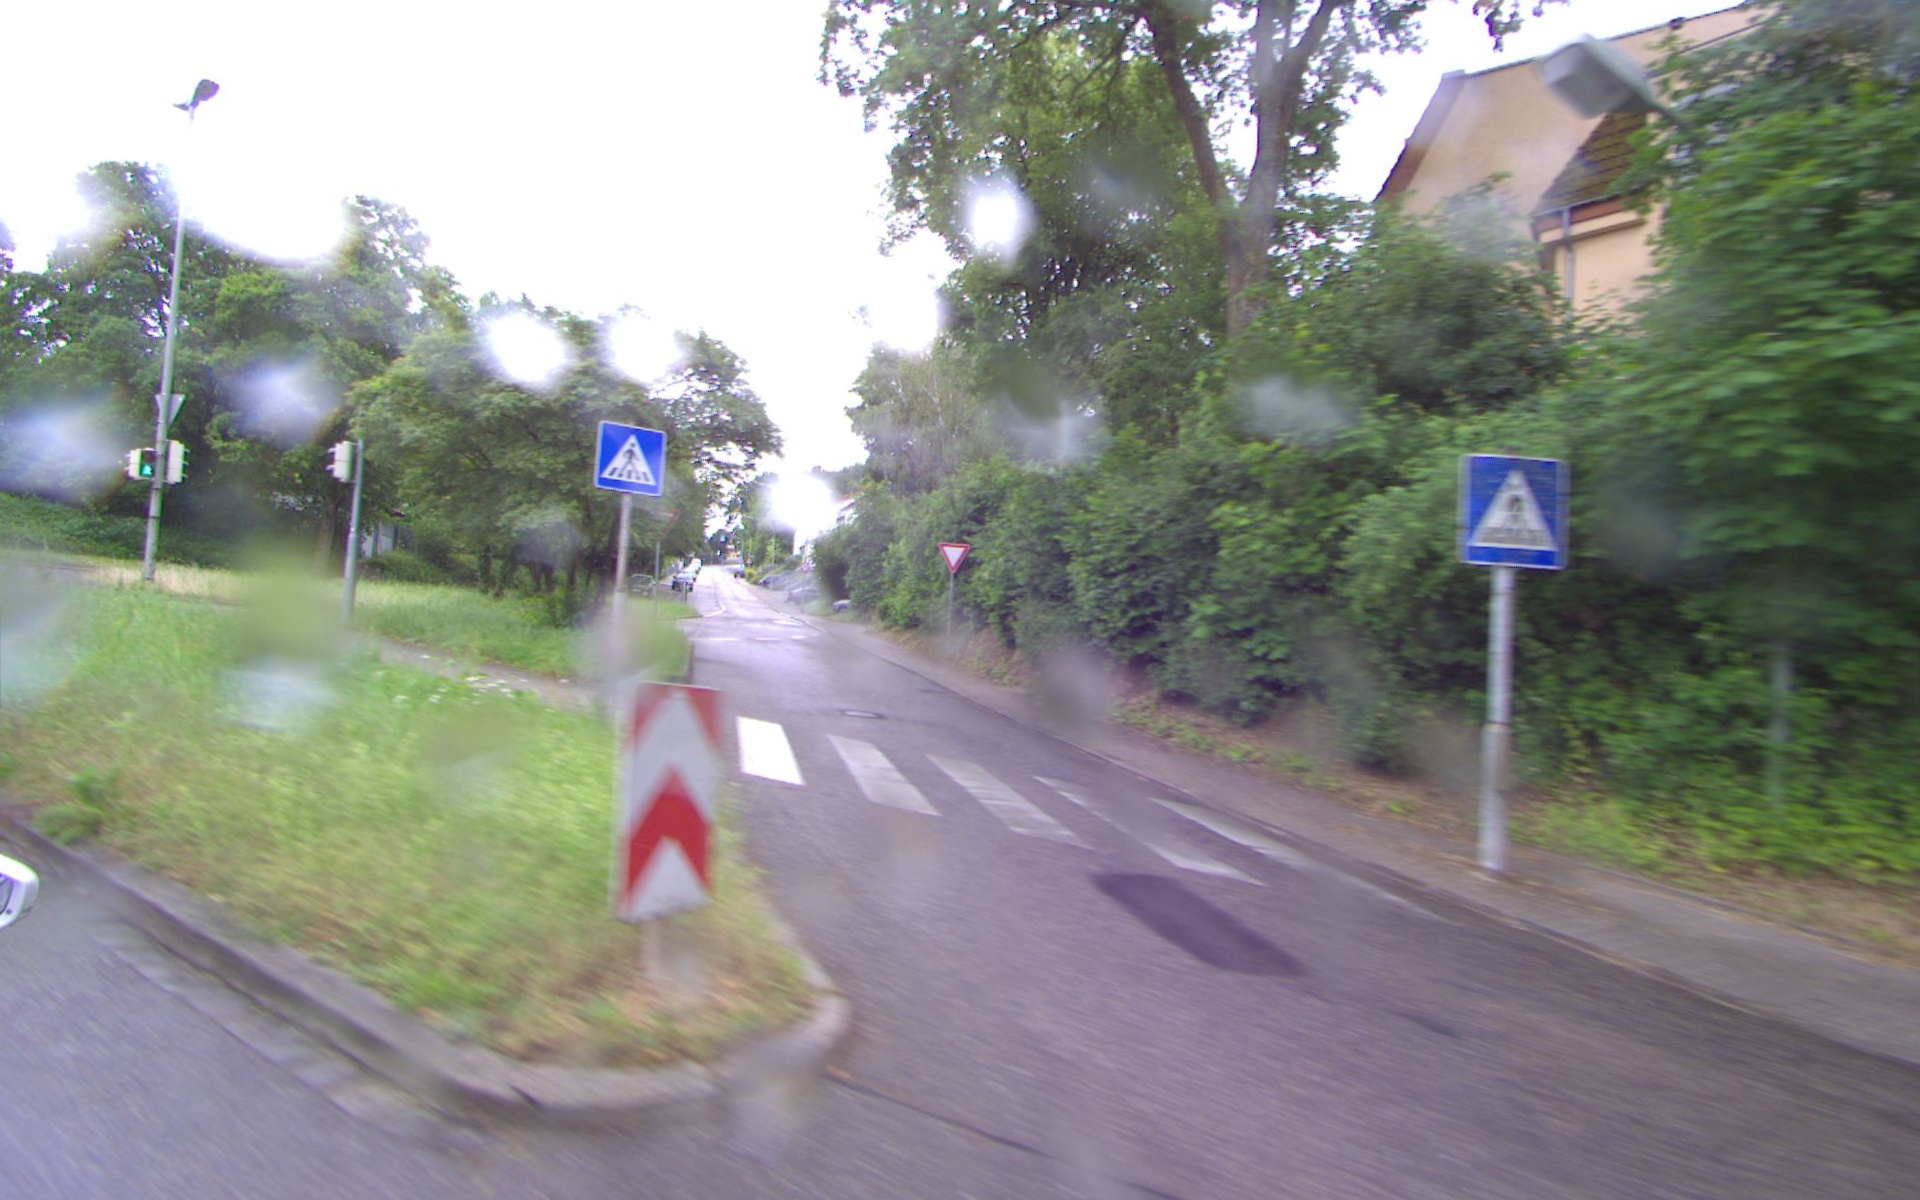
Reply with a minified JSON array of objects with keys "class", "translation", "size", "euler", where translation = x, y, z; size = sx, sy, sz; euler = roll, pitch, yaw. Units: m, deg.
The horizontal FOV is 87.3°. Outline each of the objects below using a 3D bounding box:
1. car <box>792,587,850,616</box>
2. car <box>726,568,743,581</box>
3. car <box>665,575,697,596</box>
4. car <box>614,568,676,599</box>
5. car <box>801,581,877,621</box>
[{"class":"car","translation":[-10.366,0.088,75.032],"size":[3.938,1.668,1.952],"euler":[7,-1,-15]},{"class":"car","translation":[-33.706,-3.794,150.385],"size":[1.919,1.474,4.201],"euler":[8,-3,-19]},{"class":"car","translation":[-25.053,-1.294,90.399],"size":[1.672,1.462,4.003],"euler":[8,-3,-2]},{"class":"car","translation":[-20.171,-1.029,64.530],"size":[1.793,1.590,4.003],"euler":[7,-1,15]},{"class":"car","translation":[-7.282,0.075,60.553],"size":[3.925,1.922,1.958],"euler":[7,0,17]}]
